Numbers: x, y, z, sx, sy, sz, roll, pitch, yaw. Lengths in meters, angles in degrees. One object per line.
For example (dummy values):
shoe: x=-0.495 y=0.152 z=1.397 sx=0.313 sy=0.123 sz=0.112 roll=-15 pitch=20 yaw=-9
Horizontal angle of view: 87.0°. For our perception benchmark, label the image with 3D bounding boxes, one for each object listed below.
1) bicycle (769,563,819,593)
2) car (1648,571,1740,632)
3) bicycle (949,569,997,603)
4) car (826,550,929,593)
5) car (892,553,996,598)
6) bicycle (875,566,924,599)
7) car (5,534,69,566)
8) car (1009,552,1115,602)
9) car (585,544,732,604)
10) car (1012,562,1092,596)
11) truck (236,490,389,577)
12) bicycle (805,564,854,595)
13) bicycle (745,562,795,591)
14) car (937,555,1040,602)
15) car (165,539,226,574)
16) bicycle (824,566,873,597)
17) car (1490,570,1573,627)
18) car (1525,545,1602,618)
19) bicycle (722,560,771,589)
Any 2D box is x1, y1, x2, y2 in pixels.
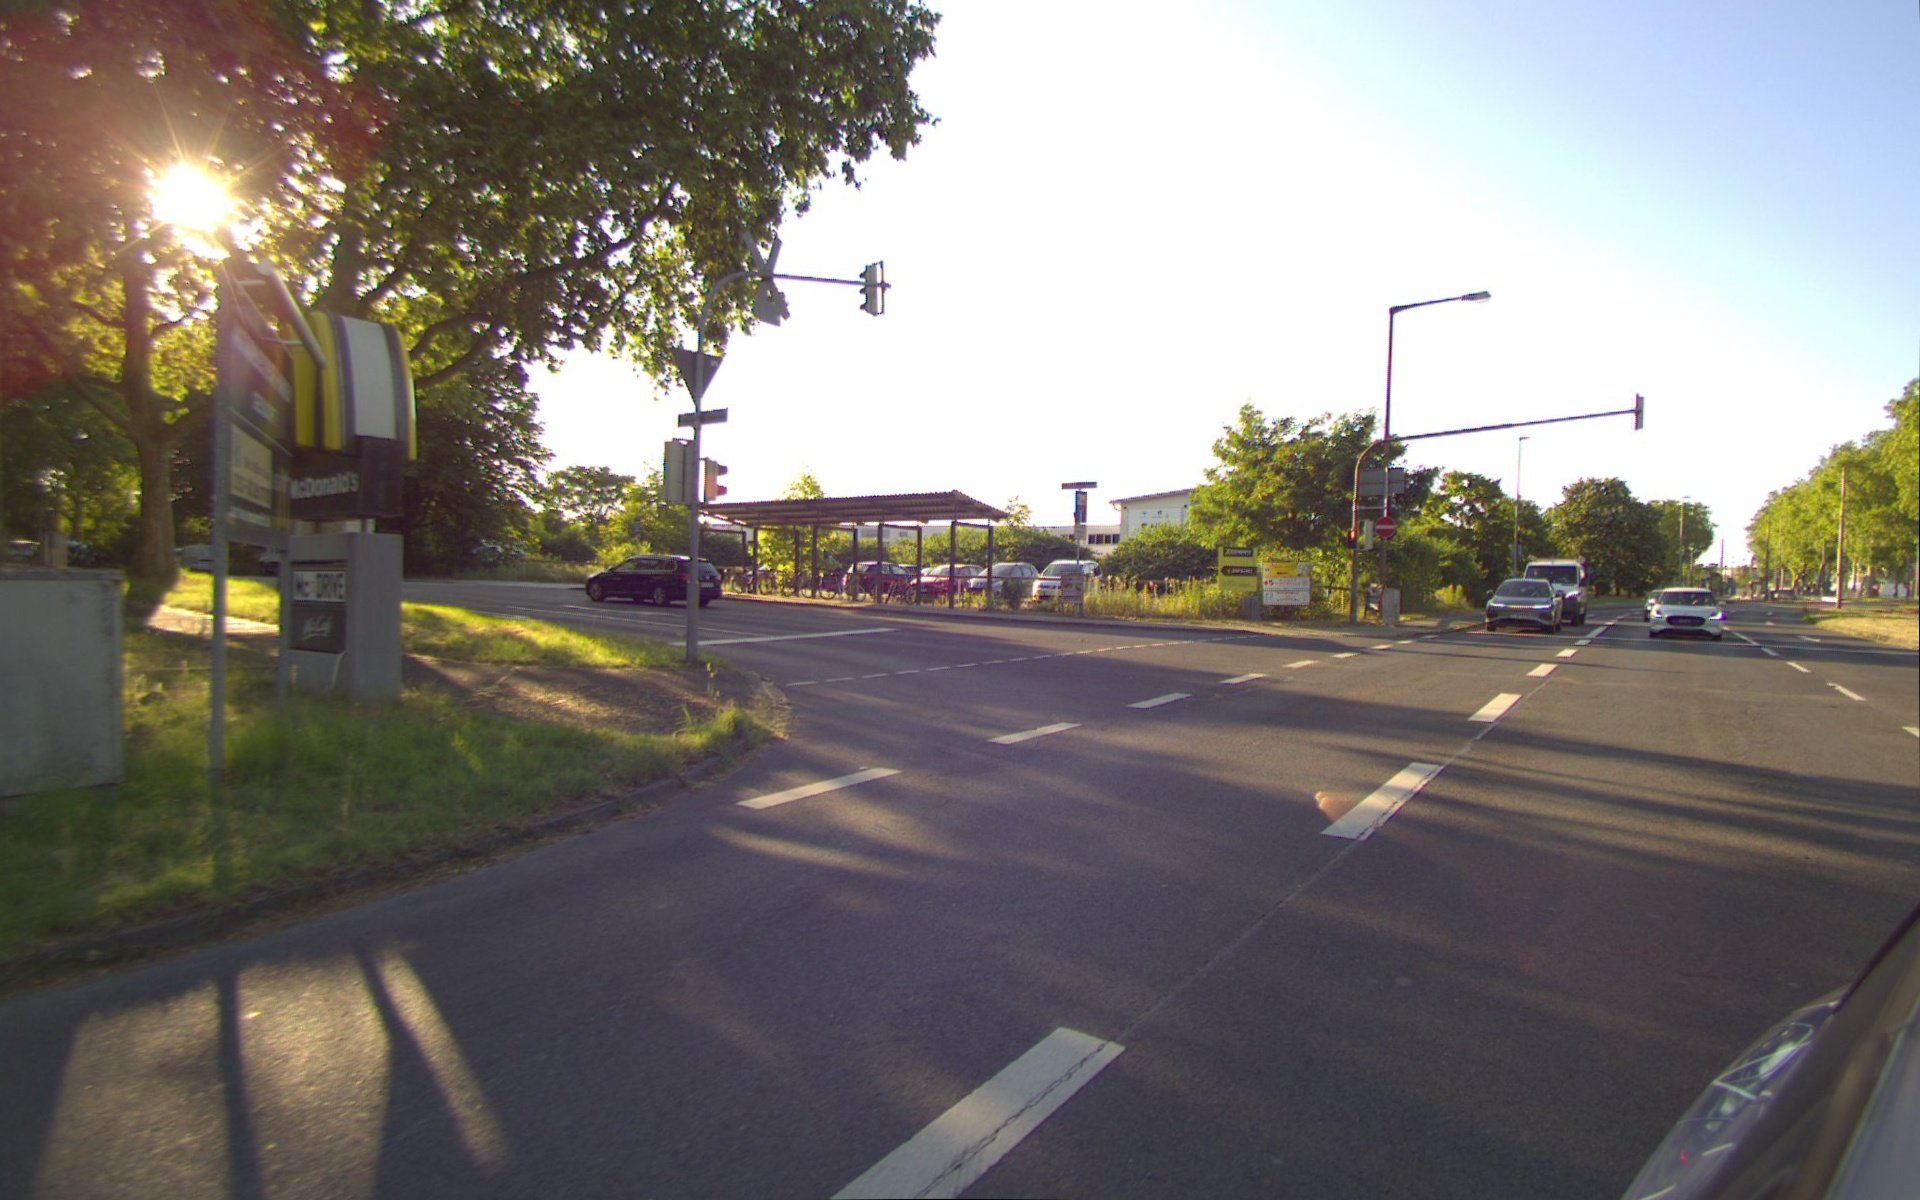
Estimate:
bicycle: x=-5.969 y=-0.796 z=36.472 sx=0.542 sy=1.051 sz=1.866 roll=3 pitch=2 yaw=40
car: x=21.903 y=0.016 z=30.138 sx=1.869 sy=1.638 sz=3.941 roll=3 pitch=2 yaw=40
bicycle: x=0.434 y=-0.459 z=32.647 sx=0.541 sy=1.051 sz=1.869 roll=3 pitch=2 yaw=36
car: x=-3.446 y=-1.164 z=42.883 sx=2.106 sy=1.669 sz=4.267 roll=3 pitch=2 yaw=34
car: x=-0.580 y=-0.964 z=40.765 sx=2.106 sy=1.669 sz=4.267 roll=3 pitch=2 yaw=34
bicycle: x=-1.992 y=-0.571 z=33.769 sx=0.541 sy=1.051 sz=1.869 roll=3 pitch=2 yaw=36
car: x=-48.961 y=-2.665 z=53.665 sx=3.979 sy=1.571 sz=1.827 roll=3 pitch=2 yaw=38
car: x=3.787 y=-0.840 z=37.126 sx=2.106 sy=1.669 sz=4.176 roll=3 pitch=2 yaw=34
car: x=-8.861 y=-0.783 z=29.648 sx=4.228 sy=1.575 sz=1.809 roll=3 pitch=2 yaw=33
car: x=4.828 y=-1.076 z=53.000 sx=2.115 sy=1.657 sz=3.936 roll=4 pitch=2 yaw=44
truck: x=-32.919 y=-3.341 z=51.164 sx=11.046 sy=3.924 sz=3.150 roll=4 pitch=2 yaw=39
bicycle: x=-4.559 y=-0.722 z=35.387 sx=0.541 sy=1.051 sz=1.869 roll=3 pitch=2 yaw=36
bicycle: x=-6.986 y=-0.866 z=37.336 sx=0.542 sy=1.051 sz=1.866 roll=3 pitch=2 yaw=40
car: x=1.152 y=-0.806 z=38.582 sx=2.106 sy=1.669 sz=3.951 roll=3 pitch=2 yaw=34
car: x=-45.900 y=-2.605 z=60.734 sx=4.842 sy=1.931 sz=1.681 roll=3 pitch=2 yaw=38
bicycle: x=-3.833 y=-0.640 z=34.999 sx=0.541 sy=1.051 sz=1.869 roll=3 pitch=2 yaw=36
car: x=18.347 y=-0.085 z=32.378 sx=1.864 sy=1.638 sz=4.491 roll=3 pitch=2 yaw=35
car: x=23.383 y=-0.707 z=39.096 sx=1.998 sy=2.597 sz=5.800 roll=3 pitch=2 yaw=36
bicycle: x=-8.081 y=-0.945 z=38.328 sx=0.542 sy=1.051 sz=1.866 roll=3 pitch=2 yaw=40
